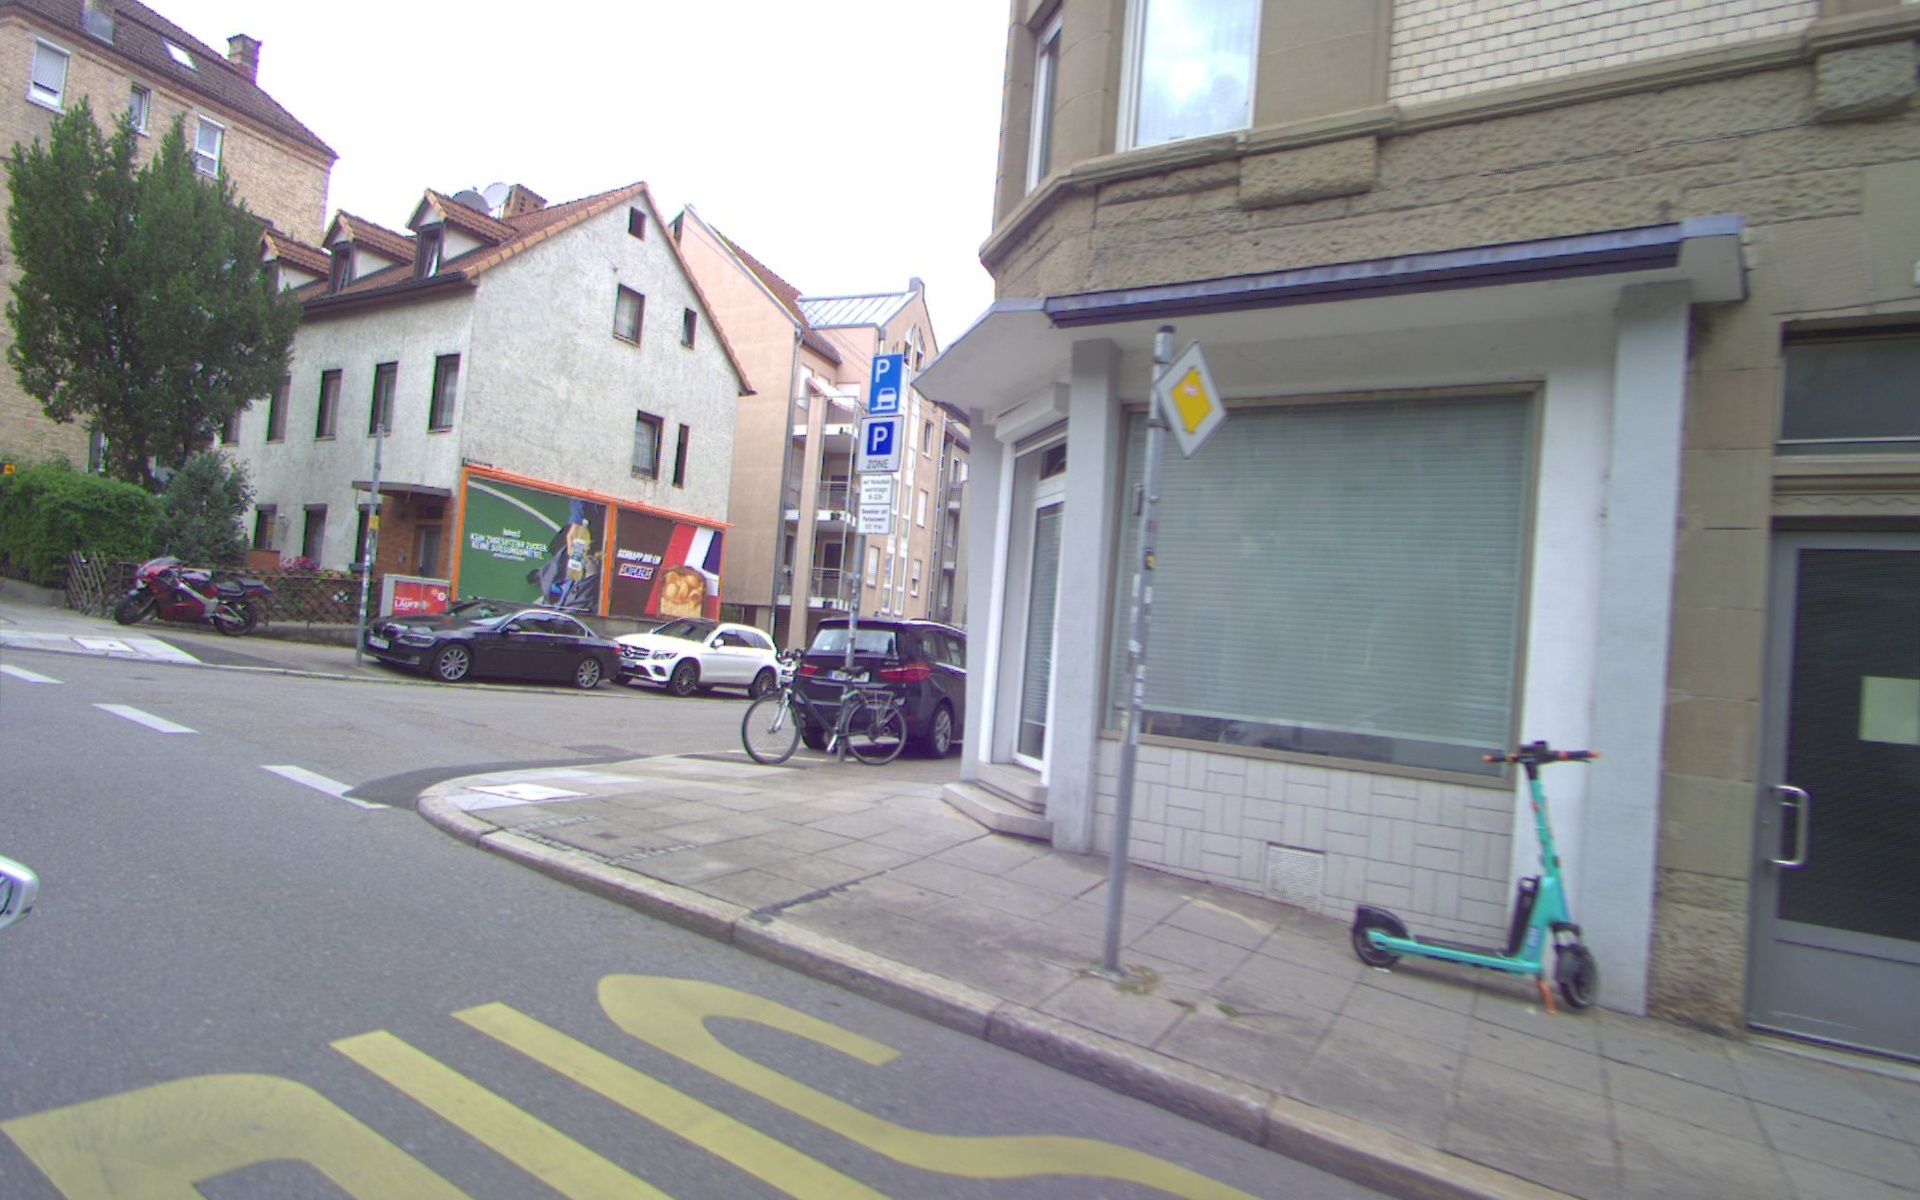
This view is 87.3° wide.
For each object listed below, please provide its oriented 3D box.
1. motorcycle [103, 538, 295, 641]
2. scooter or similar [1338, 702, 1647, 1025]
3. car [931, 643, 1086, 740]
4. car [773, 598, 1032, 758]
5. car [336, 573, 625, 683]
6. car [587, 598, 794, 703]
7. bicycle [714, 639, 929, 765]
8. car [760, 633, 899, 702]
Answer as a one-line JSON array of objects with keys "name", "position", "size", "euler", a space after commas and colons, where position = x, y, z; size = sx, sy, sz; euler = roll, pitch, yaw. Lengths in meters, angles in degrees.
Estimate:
[{"name": "motorcycle", "position": [-11.889, -0.127, 15.810], "size": [0.992, 1.281, 2.063], "euler": [7, -3, 27]}, {"name": "scooter or similar", "position": [2.570, 1.223, 4.931], "size": [1.126, 1.226, 0.410], "euler": [10, 3, 31]}, {"name": "car", "position": [0.985, 1.644, 18.044], "size": [1.657, 1.478, 3.878], "euler": [2, -5, 20]}, {"name": "car", "position": [-0.520, 1.038, 13.117], "size": [1.754, 1.663, 4.383], "euler": [2, -5, 19]}, {"name": "car", "position": [-8.063, 0.559, 17.326], "size": [1.752, 1.300, 4.137], "euler": [10, -1, 29]}, {"name": "car", "position": [-5.735, 1.178, 22.009], "size": [1.842, 1.681, 4.319], "euler": [8, -4, 25]}, {"name": "bicycle", "position": [-1.402, 1.037, 10.195], "size": [2.040, 1.152, 0.641], "euler": [4, -4, -13]}, {"name": "car", "position": [-3.475, 1.899, 27.620], "size": [1.761, 1.469, 4.319], "euler": [8, -3, 22]}]
